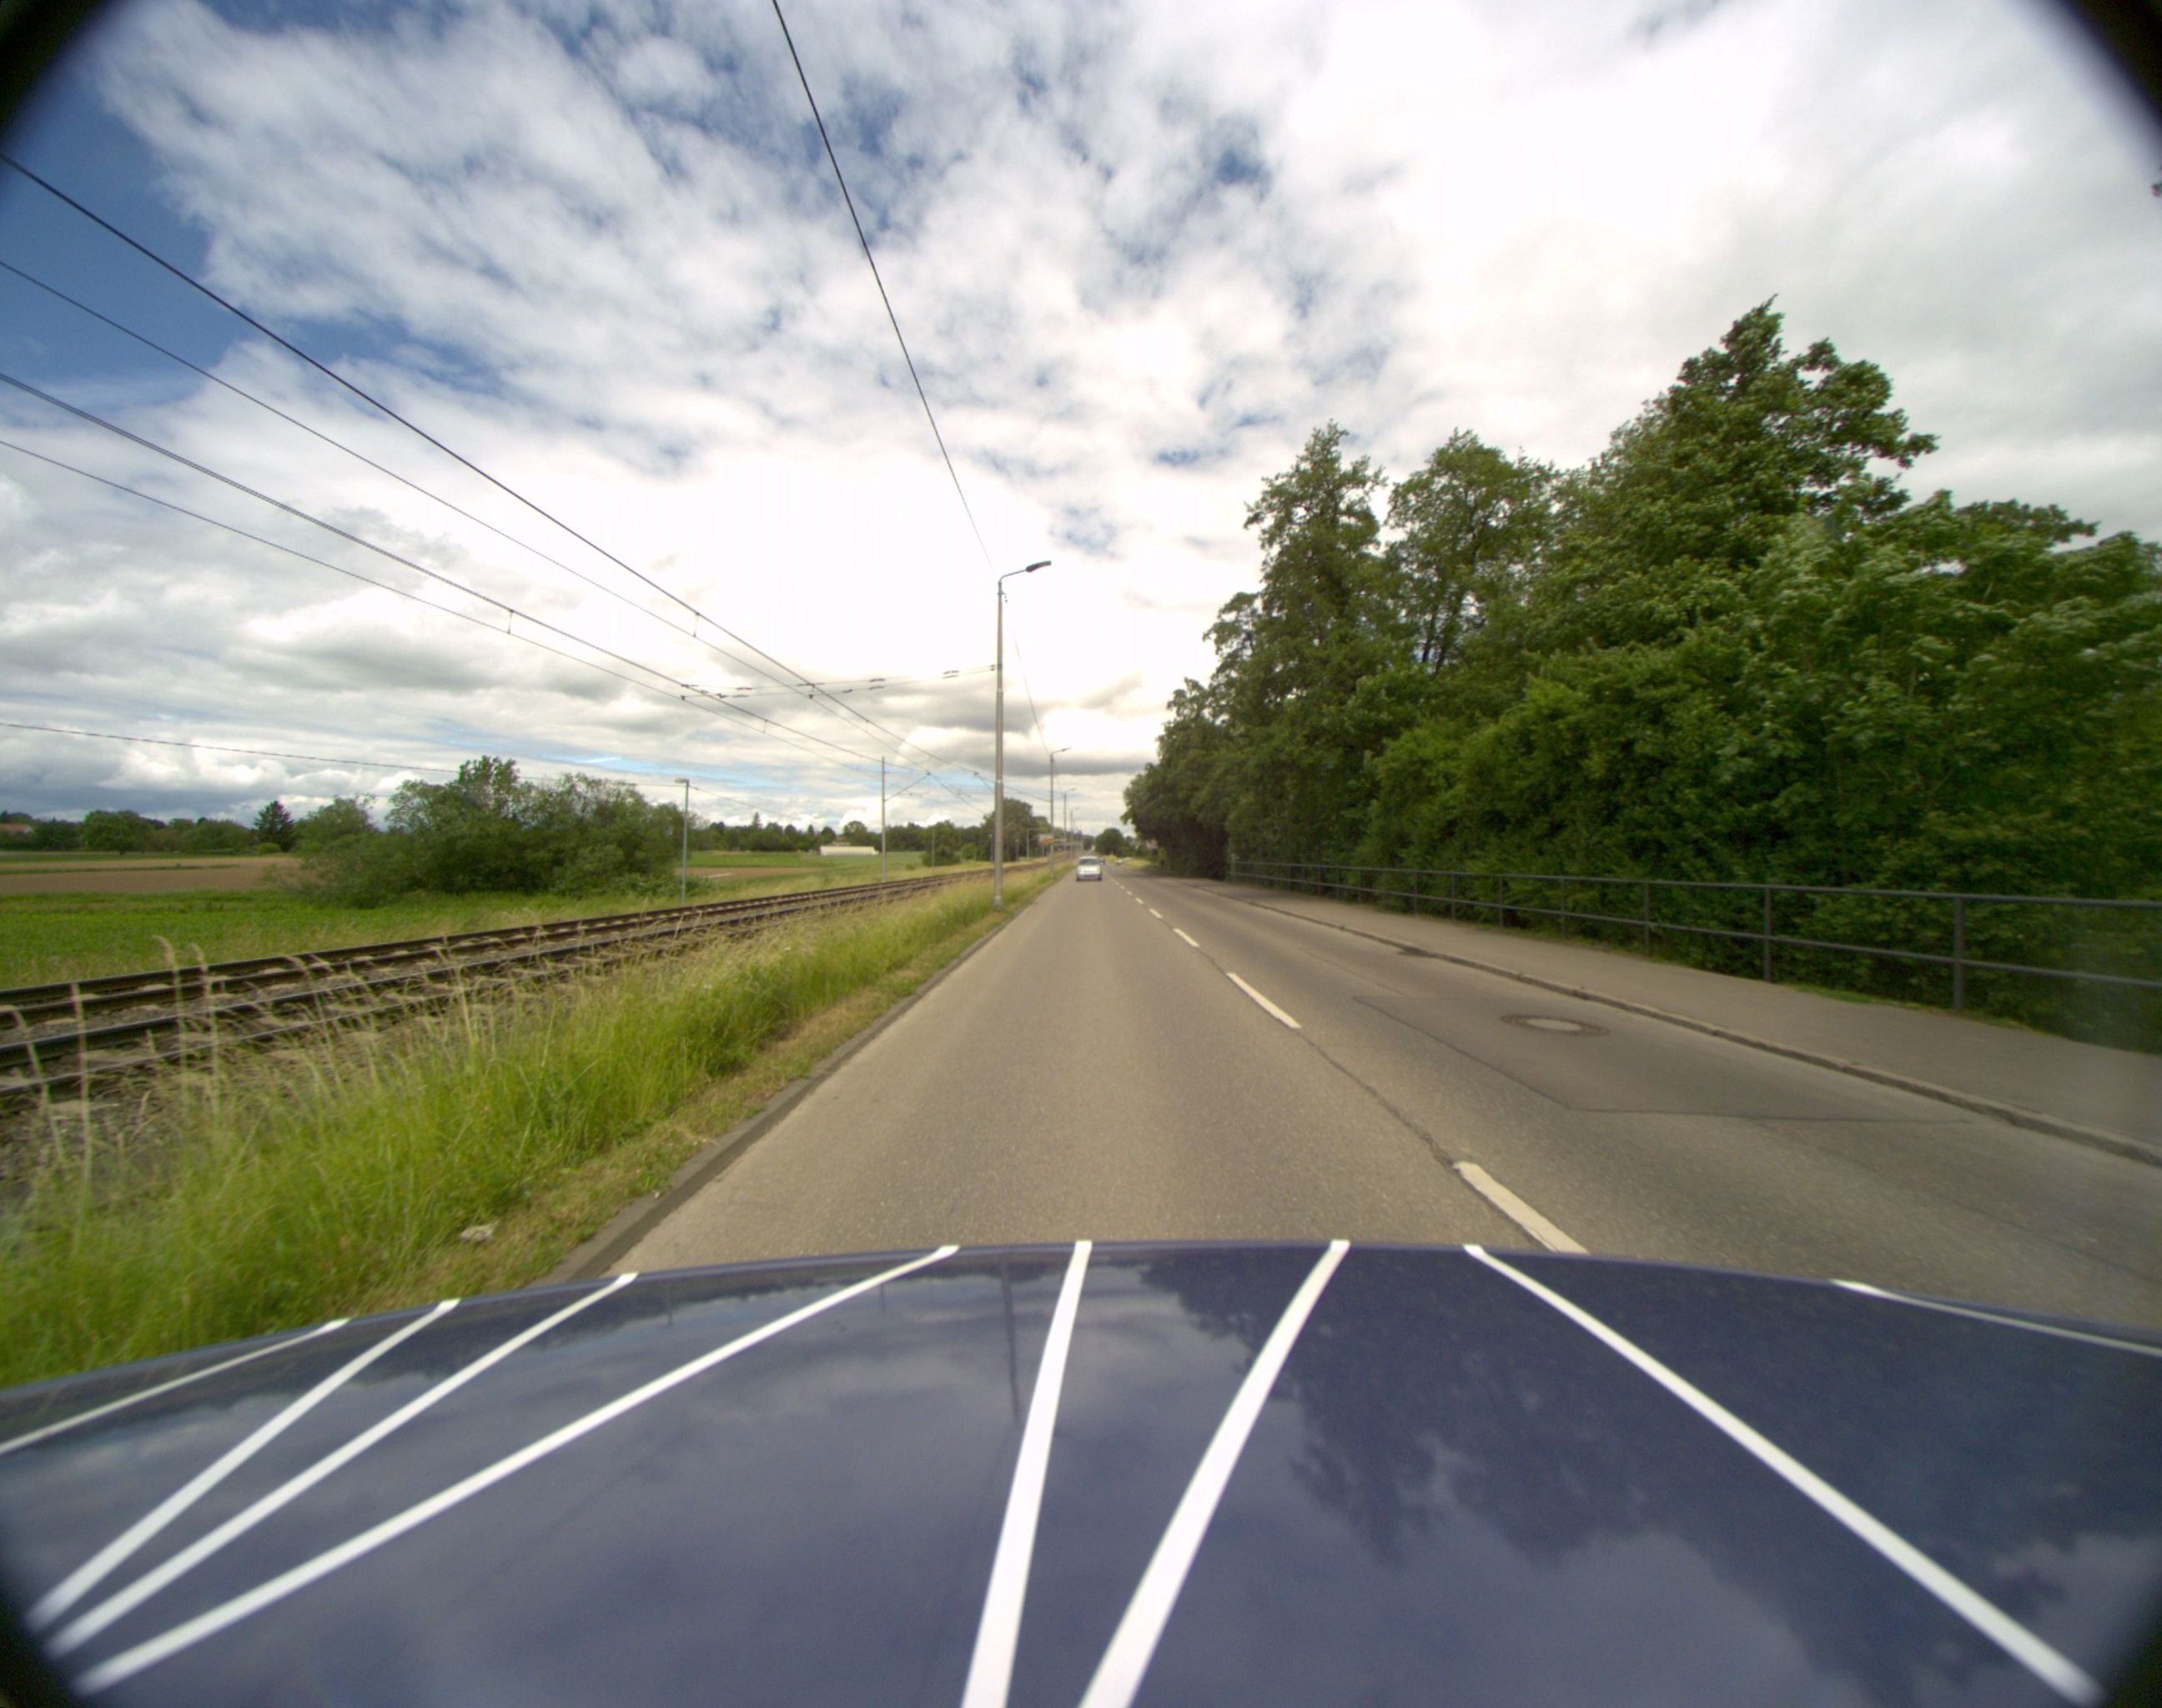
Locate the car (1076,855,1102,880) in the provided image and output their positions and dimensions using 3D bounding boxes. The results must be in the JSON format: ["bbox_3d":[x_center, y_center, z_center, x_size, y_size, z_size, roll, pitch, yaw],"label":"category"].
[{"bbox_3d":[0.571,0.895,51.002,1.643,1.510,3.868,-2,1,1],"label":"car"}]

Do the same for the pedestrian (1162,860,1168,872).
[{"bbox_3d":[11.178,1.576,101.366,0.706,1.584,0.707,0,-1,11],"label":"pedestrian"}]

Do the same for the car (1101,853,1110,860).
[{"bbox_3d":[5.403,0.514,168.052,1.711,1.519,3.824,2,1,1],"label":"car"}]
